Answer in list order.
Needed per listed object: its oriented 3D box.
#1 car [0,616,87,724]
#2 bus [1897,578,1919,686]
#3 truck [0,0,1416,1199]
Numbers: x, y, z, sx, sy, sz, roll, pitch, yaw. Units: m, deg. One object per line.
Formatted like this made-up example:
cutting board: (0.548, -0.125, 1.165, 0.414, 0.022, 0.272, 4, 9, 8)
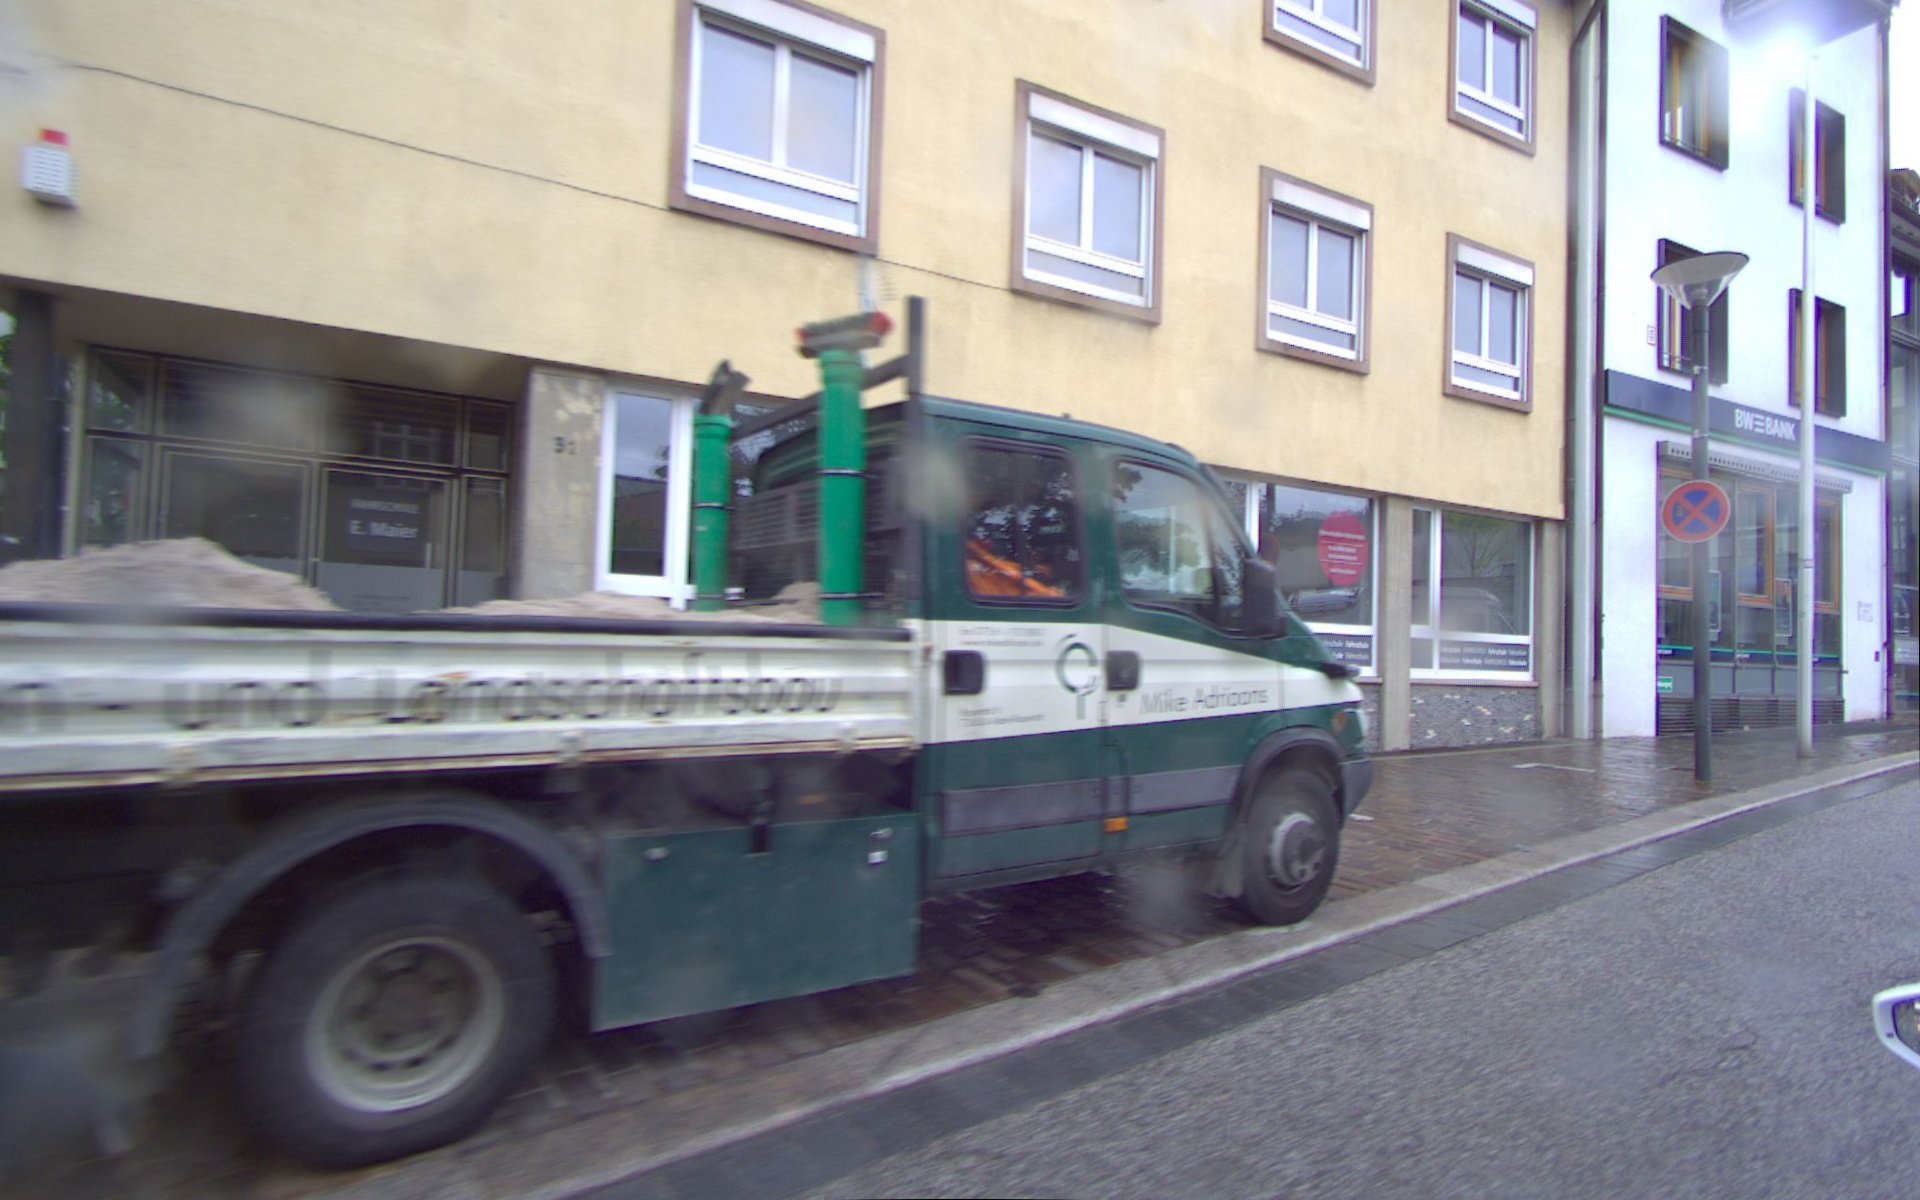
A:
car: (-15.422, 1.046, 15.073, 1.790, 1.639, 4.268, 1, -3, -16)
bus: (30.386, 0.719, 25.509, 2.976, 3.187, 10.143, 1, -3, -6)
truck: (-0.997, 0.028, 4.205, 6.418, 2.629, 2.384, 0, -1, -36)
